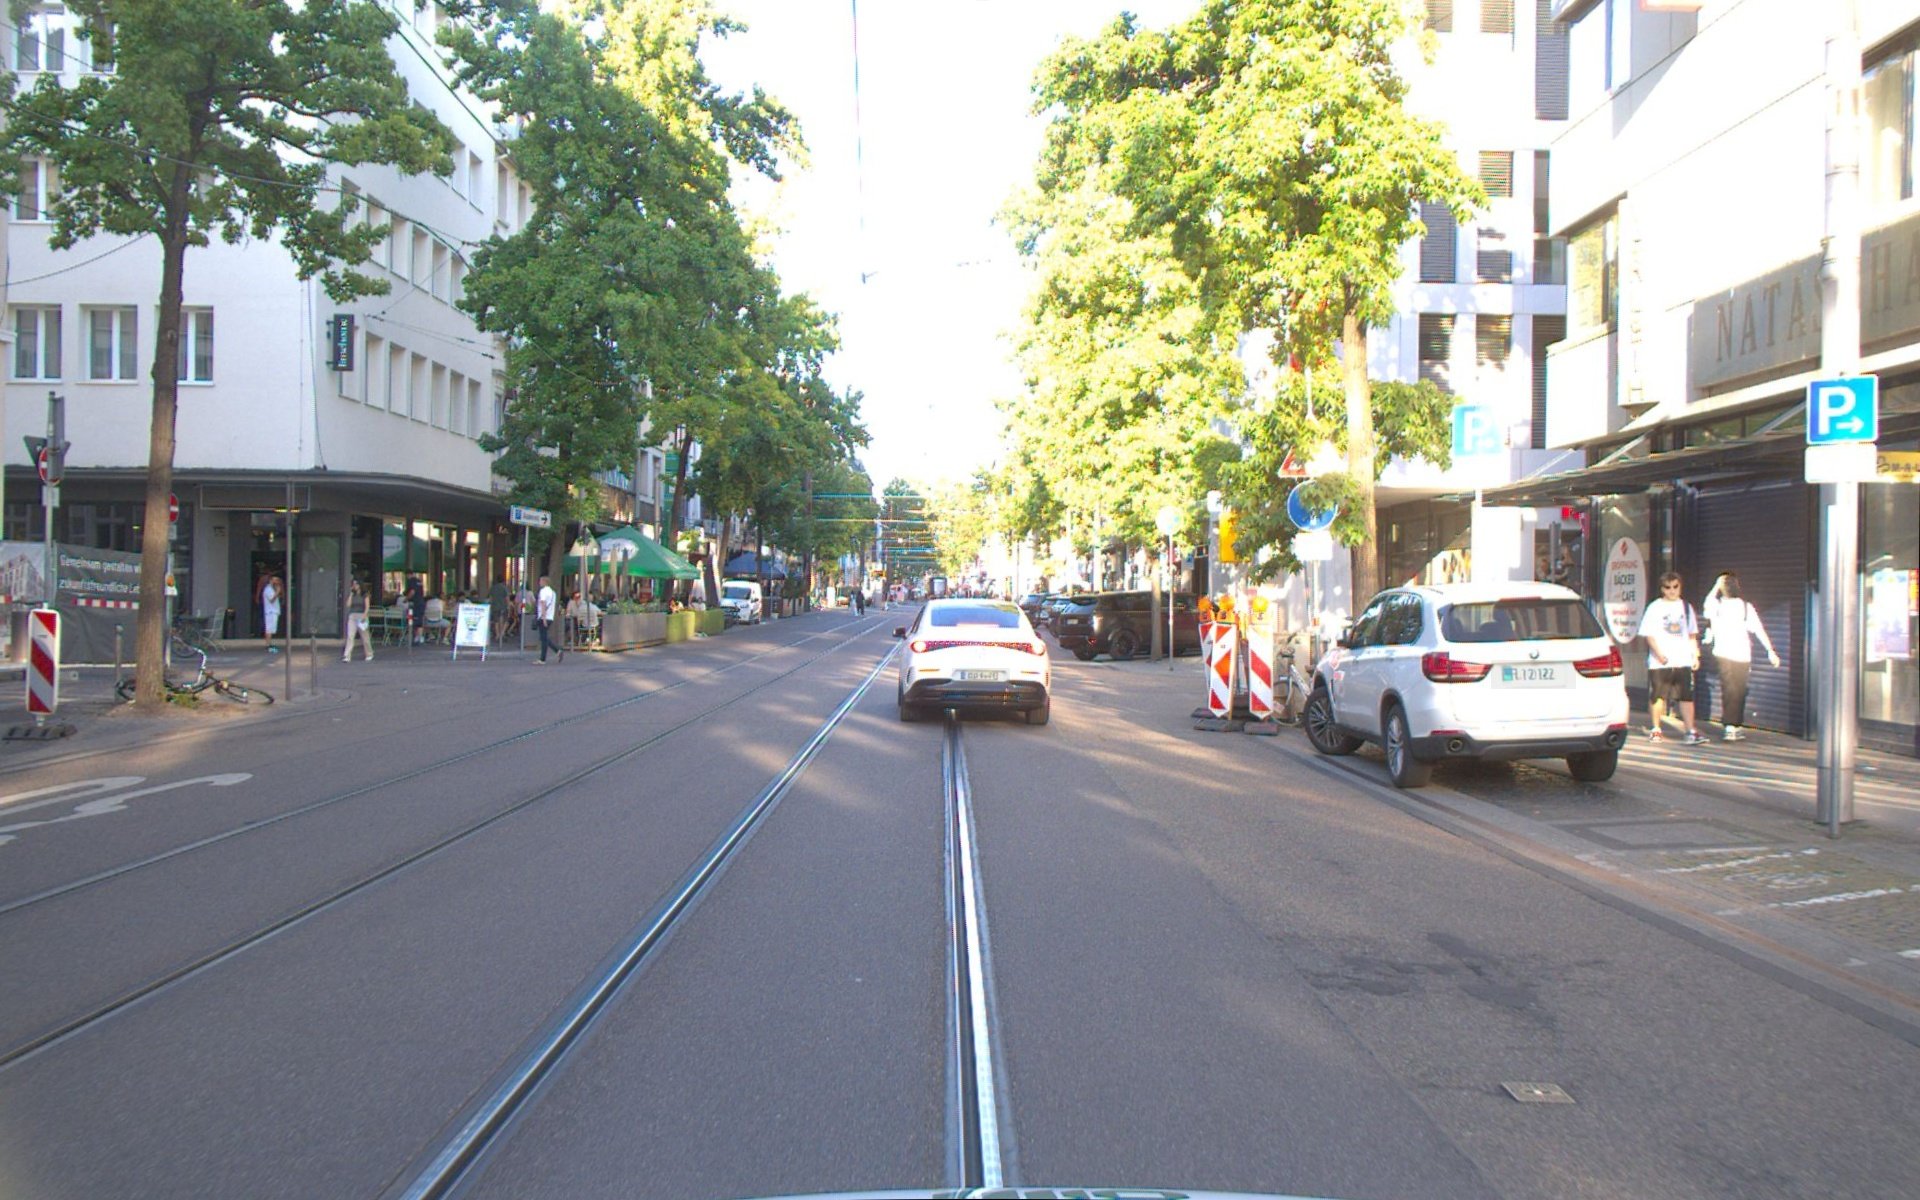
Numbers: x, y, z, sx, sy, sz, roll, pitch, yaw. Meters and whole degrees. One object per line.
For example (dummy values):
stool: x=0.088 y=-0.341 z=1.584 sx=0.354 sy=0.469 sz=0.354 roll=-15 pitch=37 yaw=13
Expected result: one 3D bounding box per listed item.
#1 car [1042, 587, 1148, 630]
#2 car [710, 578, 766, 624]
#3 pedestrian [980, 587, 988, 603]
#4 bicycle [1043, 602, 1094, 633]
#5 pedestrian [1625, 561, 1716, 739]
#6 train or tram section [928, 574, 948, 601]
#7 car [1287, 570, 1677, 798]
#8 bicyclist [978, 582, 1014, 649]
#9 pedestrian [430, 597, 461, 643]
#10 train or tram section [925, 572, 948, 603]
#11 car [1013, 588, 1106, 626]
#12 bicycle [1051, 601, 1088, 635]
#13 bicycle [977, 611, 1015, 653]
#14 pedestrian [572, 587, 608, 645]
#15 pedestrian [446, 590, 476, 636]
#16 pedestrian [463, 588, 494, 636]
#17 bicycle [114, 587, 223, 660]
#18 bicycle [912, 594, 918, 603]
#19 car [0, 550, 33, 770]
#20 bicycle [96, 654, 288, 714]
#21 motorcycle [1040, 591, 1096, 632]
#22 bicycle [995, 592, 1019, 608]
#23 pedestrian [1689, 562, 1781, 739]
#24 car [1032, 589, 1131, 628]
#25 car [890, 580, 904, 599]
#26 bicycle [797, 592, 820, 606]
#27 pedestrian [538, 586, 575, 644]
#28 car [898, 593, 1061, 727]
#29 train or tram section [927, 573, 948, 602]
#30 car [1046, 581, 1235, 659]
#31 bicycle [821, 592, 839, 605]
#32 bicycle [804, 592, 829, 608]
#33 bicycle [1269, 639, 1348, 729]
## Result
car: x=5.593 y=0.350 z=68.303 sx=4.110 sy=1.598 sz=1.832 roll=-2 pitch=1 yaw=-34
car: x=-9.923 y=0.024 z=74.089 sx=1.759 sy=1.897 sz=4.554 roll=3 pitch=0 yaw=0
pedestrian: x=2.835 y=-0.608 z=195.879 sx=0.941 sy=1.816 sz=0.803 roll=-1 pitch=0 yaw=-1
bicycle: x=4.161 y=0.668 z=63.542 sx=1.870 sy=1.139 sz=0.661 roll=-2 pitch=0 yaw=-30
pedestrian: x=7.581 y=0.519 z=17.666 sx=0.691 sy=1.862 sz=0.634 roll=0 pitch=0 yaw=-1
train or tram section: x=-2.982 y=-1.689 z=223.517 sx=2.639 sy=3.578 sz=11.141 roll=0 pitch=0 yaw=-1
car: x=4.718 y=0.663 z=15.855 sx=1.982 sy=1.768 sz=4.905 roll=-2 pitch=0 yaw=-2
bicyclist: x=0.921 y=0.390 z=42.216 sx=0.761 sy=1.641 sz=0.913 roll=2 pitch=0 yaw=8
pedestrian: x=-13.606 y=0.519 z=43.744 sx=0.541 sy=1.182 sz=0.687 roll=2 pitch=0 yaw=0
train or tram section: x=-2.765 y=-1.532 z=199.126 sx=2.639 sy=3.578 sz=12.543 roll=0 pitch=0 yaw=-1
car: x=4.803 y=0.344 z=79.802 sx=4.300 sy=1.681 sz=1.676 roll=-2 pitch=0 yaw=-32
bicycle: x=4.073 y=0.649 z=61.521 sx=0.472 sy=1.183 sz=1.687 roll=-3 pitch=0 yaw=38
bicycle: x=0.939 y=0.806 z=42.456 sx=0.703 sy=1.012 sz=2.060 roll=2 pitch=1 yaw=8
pedestrian: x=-9.272 y=0.399 z=41.486 sx=0.675 sy=1.410 sz=0.807 roll=2 pitch=0 yaw=0
pedestrian: x=-13.152 y=0.337 z=43.579 sx=0.541 sy=1.182 sz=0.687 roll=2 pitch=0 yaw=0
pedestrian: x=-13.380 y=0.333 z=45.979 sx=0.590 sy=1.321 sz=0.687 roll=2 pitch=0 yaw=0
bicycle: x=-15.947 y=0.469 z=33.363 sx=1.835 sy=1.404 sz=0.713 roll=1 pitch=3 yaw=1
bicycle: x=-6.027 y=-0.260 z=222.350 sx=0.784 sy=1.162 sz=2.256 roll=2 pitch=0 yaw=-2
car: x=-9.048 y=0.498 z=12.141 sx=1.819 sy=1.864 sz=4.559 roll=1 pitch=0 yaw=1
bicycle: x=-9.564 y=1.038 z=20.674 sx=1.758 sy=0.619 sz=1.282 roll=2 pitch=0 yaw=2
motorcycle: x=4.243 y=0.442 z=65.109 sx=2.302 sy=1.536 sz=0.845 roll=-2 pitch=0 yaw=-45
bicycle: x=3.948 y=-0.037 z=138.668 sx=1.874 sy=1.303 sz=0.608 roll=-1 pitch=0 yaw=-12
pedestrian: x=8.303 y=0.530 z=17.737 sx=0.674 sy=1.862 sz=0.634 roll=0 pitch=0 yaw=-1
car: x=5.573 y=0.379 z=75.728 sx=4.195 sy=1.615 sz=1.864 roll=-2 pitch=0 yaw=-32
car: x=-9.543 y=-1.591 z=249.598 sx=1.953 sy=2.948 sz=5.274 roll=0 pitch=0 yaw=0
bicycle: x=-10.734 y=-0.056 z=117.531 sx=1.562 sy=0.946 sz=0.377 roll=2 pitch=0 yaw=6
pedestrian: x=-10.103 y=0.371 z=41.447 sx=0.675 sy=1.410 sz=0.807 roll=2 pitch=0 yaw=0
car: x=0.199 y=0.673 z=20.913 sx=1.819 sy=1.480 sz=4.174 roll=1 pitch=0 yaw=-1
train or tram section: x=-2.873 y=-1.615 z=211.677 sx=2.639 sy=3.578 sz=12.543 roll=0 pitch=0 yaw=-1
car: x=4.720 y=0.495 z=43.104 sx=4.603 sy=1.794 sz=1.974 roll=-2 pitch=0 yaw=-30
bicycle: x=-11.030 y=-0.163 z=140.158 sx=1.466 sy=1.047 sz=0.344 roll=2 pitch=0 yaw=-11
bicycle: x=-10.493 y=-0.013 z=120.762 sx=1.754 sy=1.096 sz=0.377 roll=2 pitch=0 yaw=-5
bicycle: x=4.233 y=1.002 z=20.217 sx=0.483 sy=0.999 sz=1.929 roll=0 pitch=0 yaw=-2
